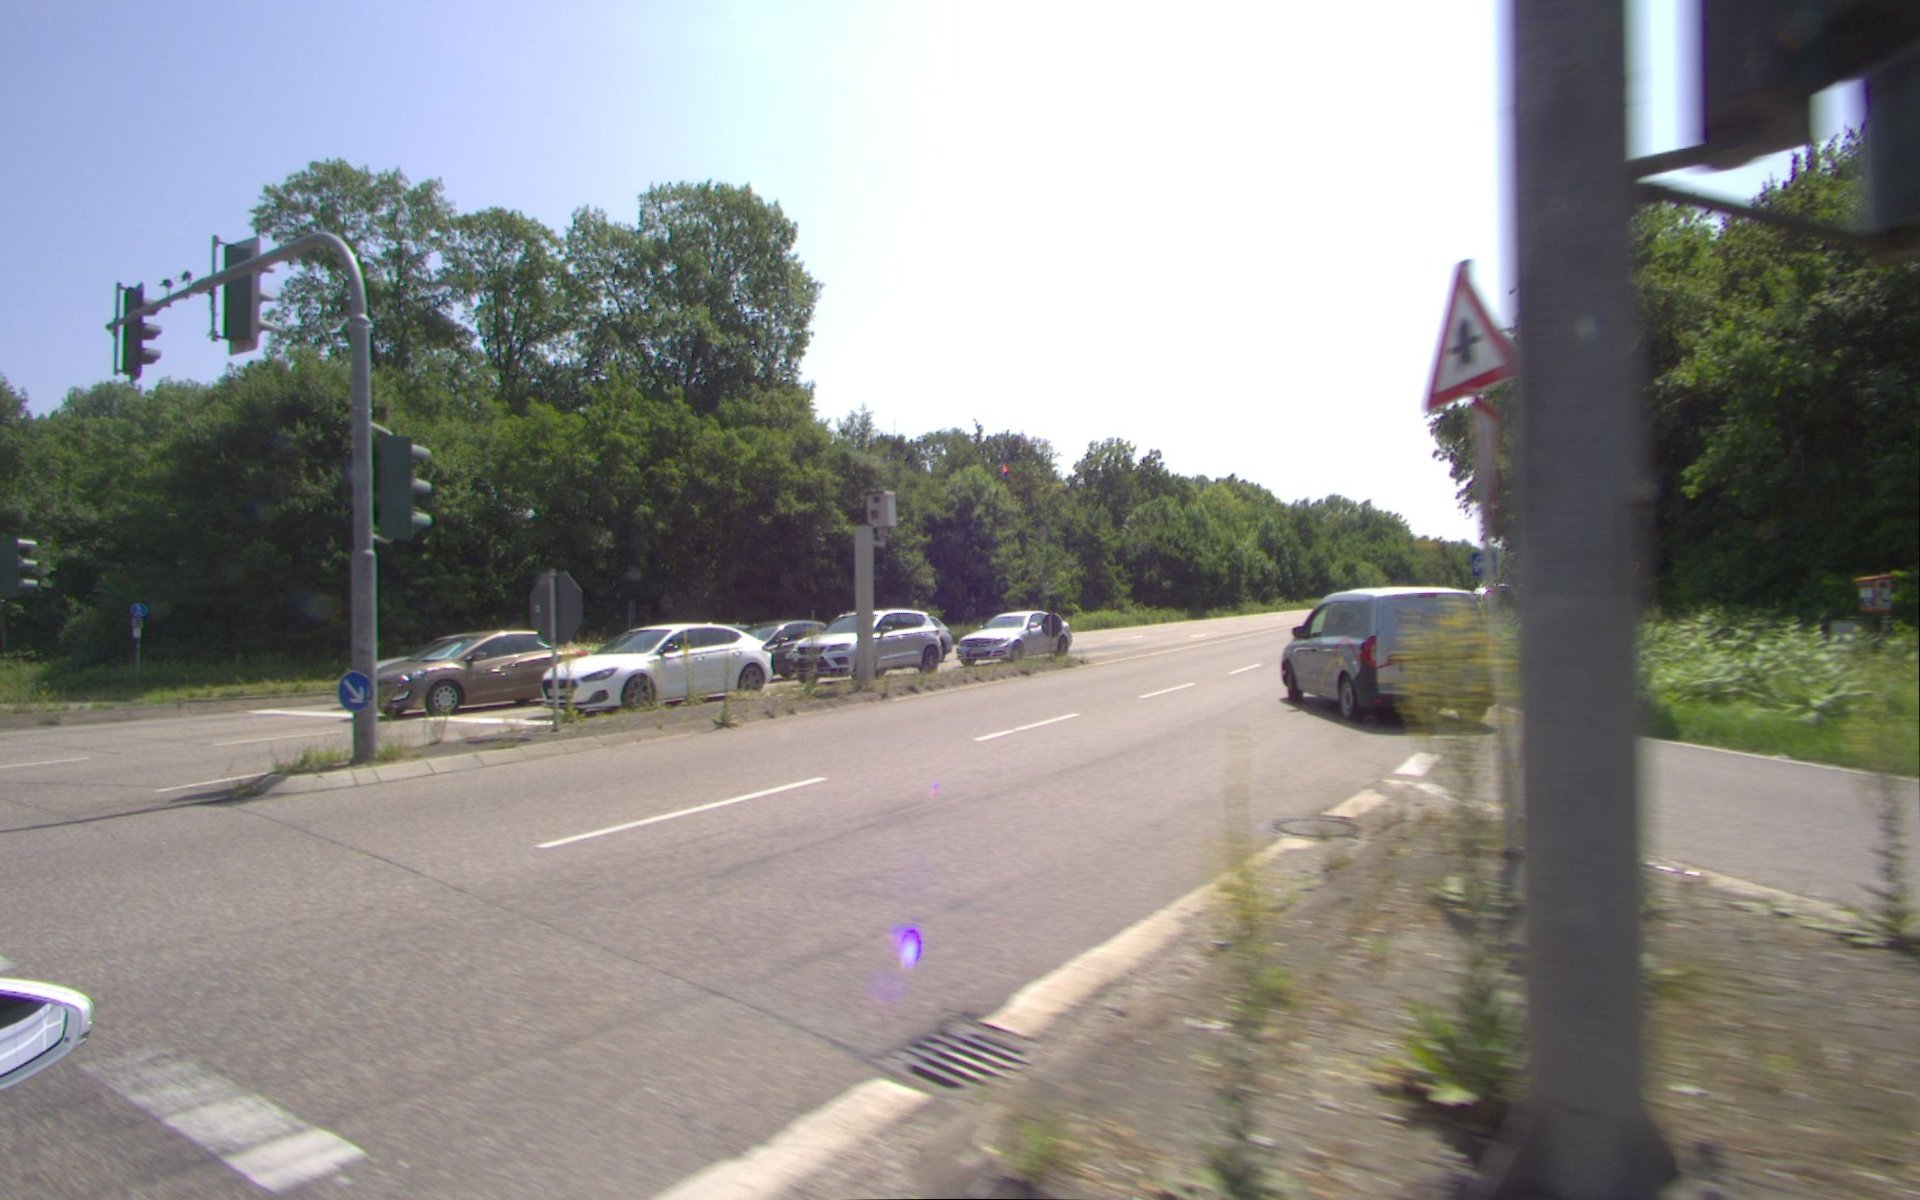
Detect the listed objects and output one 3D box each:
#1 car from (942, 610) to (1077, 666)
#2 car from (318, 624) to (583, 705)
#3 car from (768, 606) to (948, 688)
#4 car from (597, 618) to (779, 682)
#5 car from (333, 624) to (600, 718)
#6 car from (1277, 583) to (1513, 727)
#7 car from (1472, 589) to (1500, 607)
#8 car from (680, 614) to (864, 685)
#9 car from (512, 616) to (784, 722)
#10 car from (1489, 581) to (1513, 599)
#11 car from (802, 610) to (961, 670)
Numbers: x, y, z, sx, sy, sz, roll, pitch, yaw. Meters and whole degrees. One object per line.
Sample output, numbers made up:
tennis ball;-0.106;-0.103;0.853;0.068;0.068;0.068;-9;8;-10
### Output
car;1.500;1.052;28.770;1.947;1.433;4.320;-2;-1;33
car;-11.125;1.355;22.267;1.993;1.517;4.921;-2;-2;33
car;-2.248;1.003;23.094;1.972;1.681;4.163;-1;-1;32
car;-7.346;1.327;27.520;2.083;1.518;4.606;-2;-1;33
car;-9.114;1.239;18.831;1.966;1.466;4.085;-1;-1;30
car;6.093;0.741;14.595;1.727;1.796;4.114;0;-1;1
car;46.555;-0.146;88.612;1.821;1.518;4.437;-1;-1;33
car;-4.582;1.181;25.056;2.092;1.555;4.410;-2;-1;32
car;-5.327;1.112;17.717;1.971;1.555;4.412;-1;-1;31
car;55.234;-0.964;102.180;1.821;1.774;4.437;-1;-1;33
car;-2.229;1.161;30.088;2.108;1.553;5.117;-2;-1;33
